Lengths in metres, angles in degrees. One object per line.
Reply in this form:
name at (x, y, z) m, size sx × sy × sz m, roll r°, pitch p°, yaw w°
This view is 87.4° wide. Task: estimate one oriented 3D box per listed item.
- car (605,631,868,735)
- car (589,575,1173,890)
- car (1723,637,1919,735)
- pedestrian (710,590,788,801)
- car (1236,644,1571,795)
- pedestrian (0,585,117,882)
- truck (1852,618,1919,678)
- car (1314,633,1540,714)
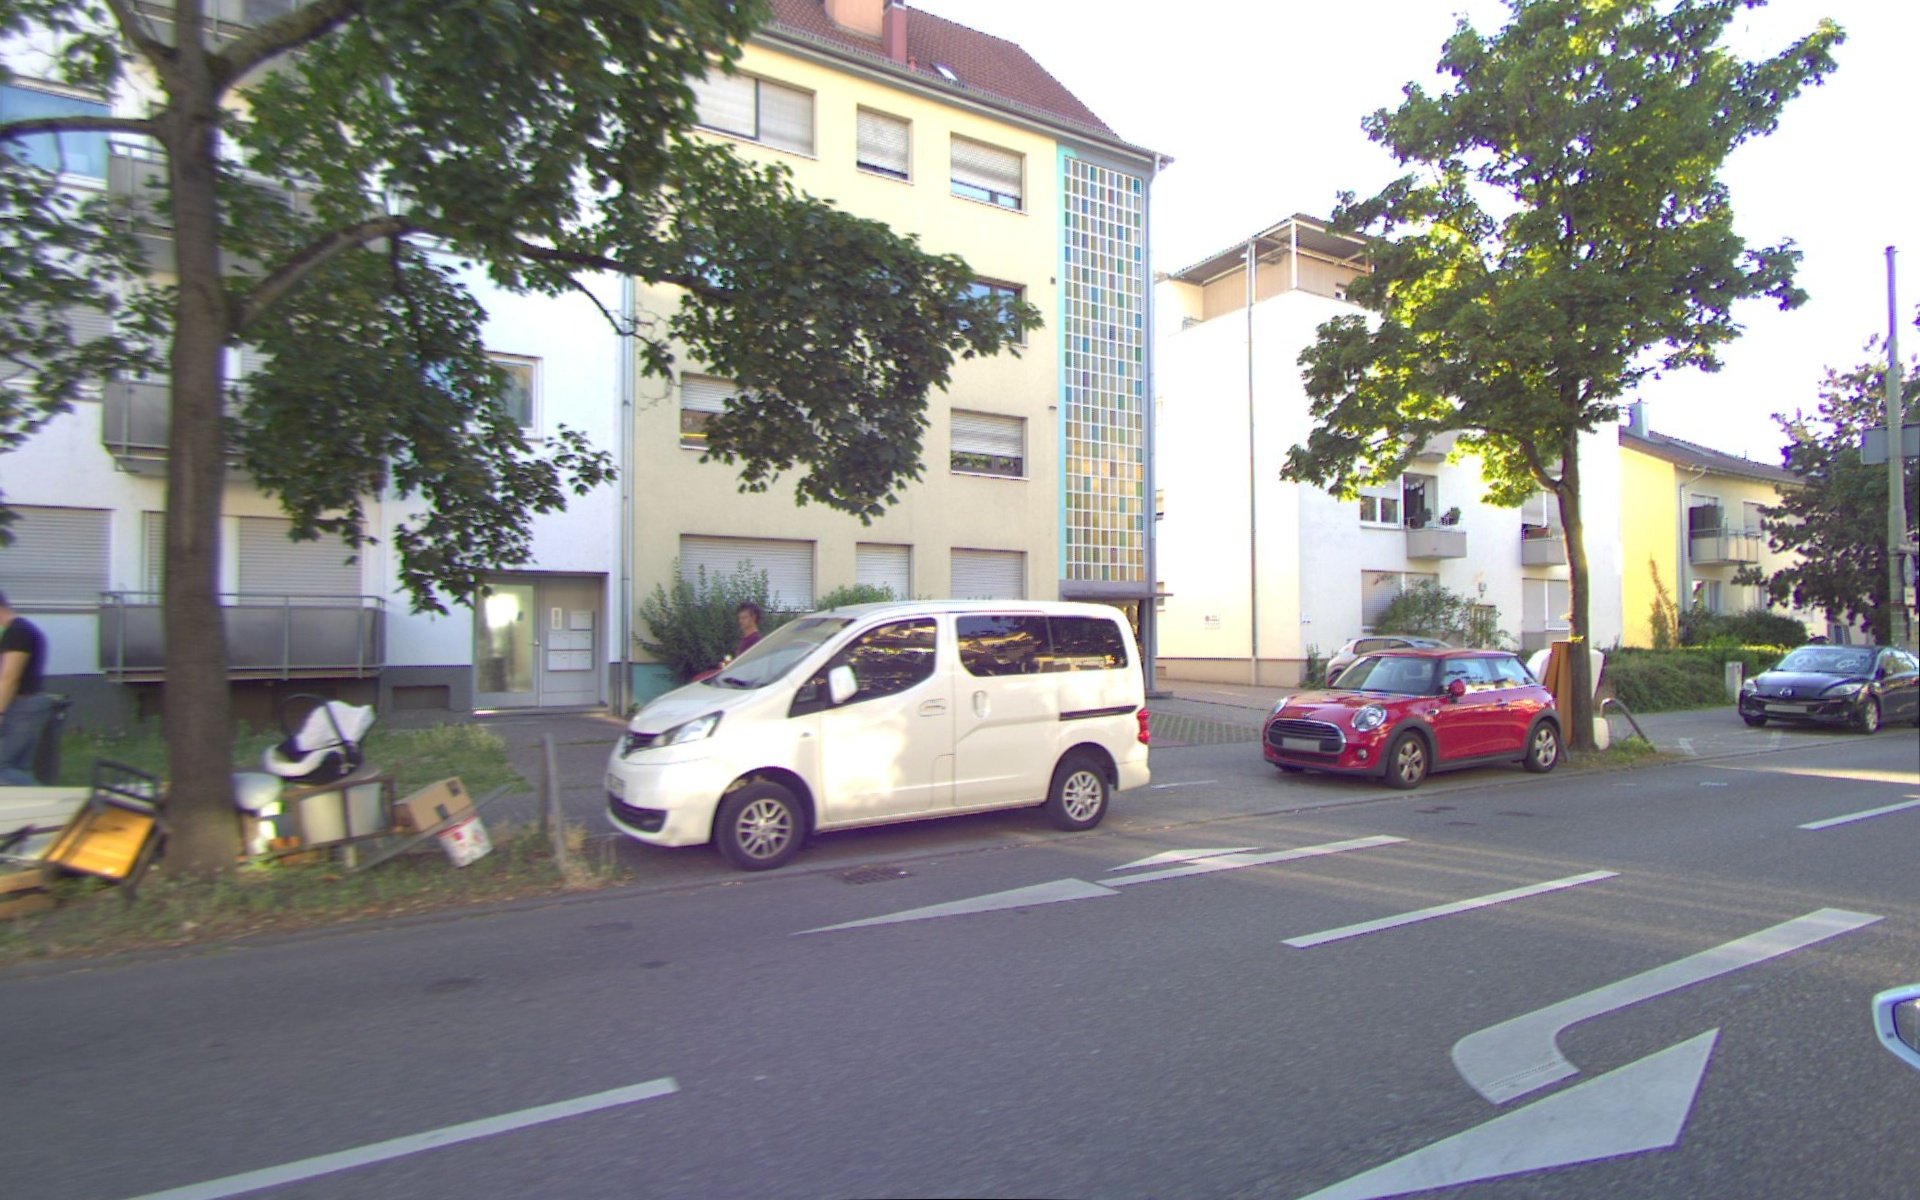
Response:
car at (-3.644, 1.188, 15.775) m, size 1.986 × 1.380 × 4.667 m, roll 1°, pitch -2°, yaw -43°
car at (-0.533, 0.868, 8.122) m, size 4.408 × 1.944 × 1.761 m, roll 1°, pitch -2°, yaw -31°
car at (15.542, 1.440, 17.862) m, size 4.198 × 1.517 × 1.708 m, roll 1°, pitch -2°, yaw -31°
pedestrian at (-2.142, 0.938, 10.176) m, size 0.609 × 2.040 × 0.623 m, roll 1°, pitch -2°, yaw -31°
car at (5.175, 1.255, 11.631) m, size 3.742 × 1.439 × 1.709 m, roll 1°, pitch -2°, yaw -31°
pedestrian at (-6.799, 0.928, 7.245) m, size 0.965 × 2.040 × 0.763 m, roll 1°, pitch -2°, yaw -31°
truck at (34.458, 1.716, 36.370) m, size 1.528 × 2.121 × 2.899 m, roll 1°, pitch -2°, yaw -31°
car at (9.866, 1.482, 21.480) m, size 1.979 × 1.498 × 3.963 m, roll 1°, pitch -1°, yaw -34°
